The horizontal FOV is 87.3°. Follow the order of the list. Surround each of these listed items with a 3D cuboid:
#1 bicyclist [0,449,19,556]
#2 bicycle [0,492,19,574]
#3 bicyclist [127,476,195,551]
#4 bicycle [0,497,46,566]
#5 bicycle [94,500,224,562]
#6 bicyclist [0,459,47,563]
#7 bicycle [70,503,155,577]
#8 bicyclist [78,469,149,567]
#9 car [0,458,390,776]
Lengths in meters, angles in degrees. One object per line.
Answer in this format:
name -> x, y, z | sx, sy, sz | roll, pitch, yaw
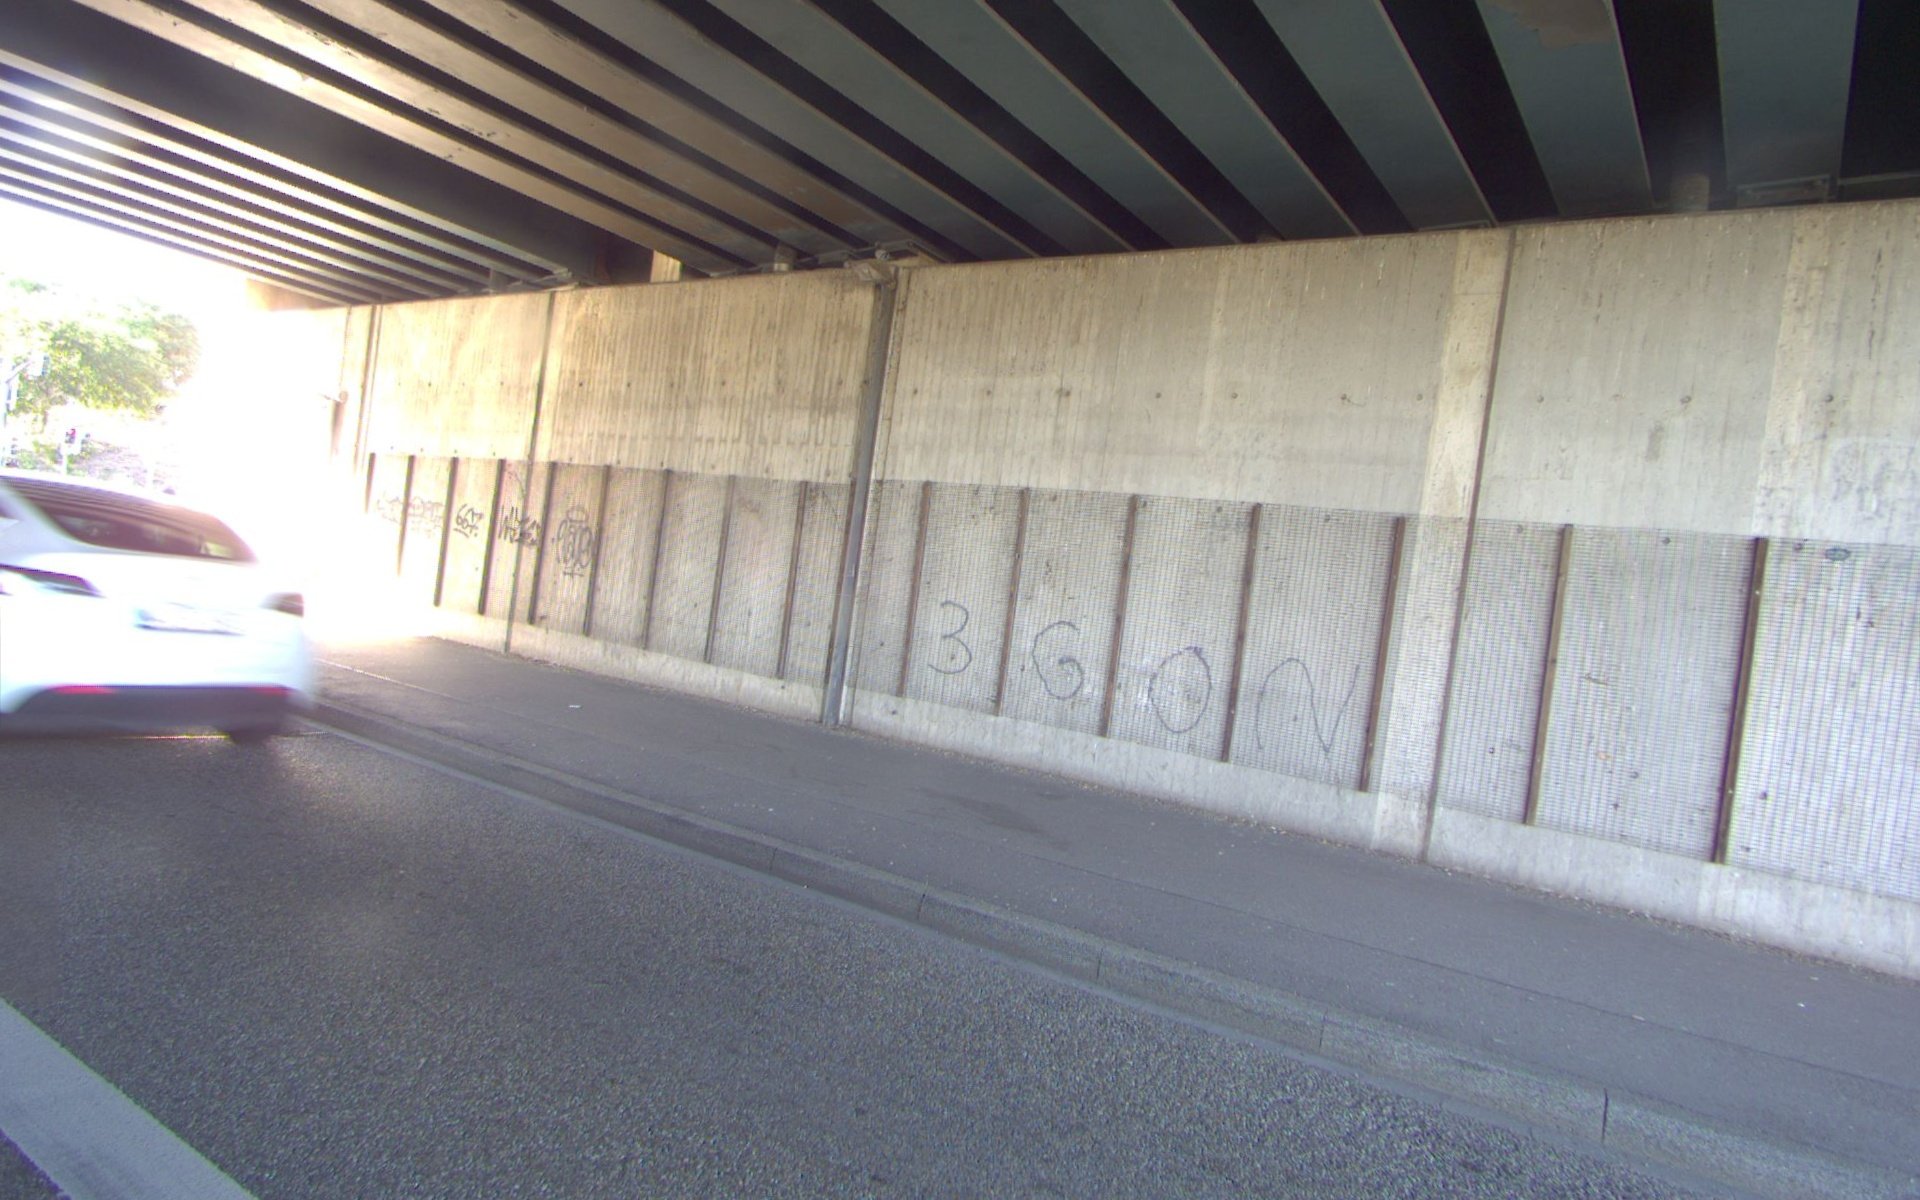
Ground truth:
bicyclist -> -14.576, -1.498, 14.915 | 0.834, 1.552, 0.653 | 7, -1, 37
bicycle -> -14.743, -1.073, 15.005 | 1.751, 1.181, 0.651 | 7, -1, 37
bicyclist -> -19.832, -2.130, 24.973 | 0.735, 1.674, 0.887 | 7, -1, 15
bicycle -> -16.033, -1.180, 16.976 | 1.508, 1.036, 0.676 | 6, -2, 43
bicycle -> -19.864, -1.684, 25.031 | 0.753, 1.159, 2.472 | 7, -1, 14
bicyclist -> -16.065, -1.507, 17.039 | 0.635, 1.647, 0.676 | 6, -2, 42
bicycle -> -14.770, -1.054, 17.518 | 1.579, 1.126, 0.681 | 6, 0, 36
bicyclist -> -14.727, -1.424, 17.507 | 0.724, 1.581, 0.670 | 7, 0, 35
car -> -6.172, -0.082, 6.786 | 4.345, 1.569, 1.998 | 8, -1, 30
